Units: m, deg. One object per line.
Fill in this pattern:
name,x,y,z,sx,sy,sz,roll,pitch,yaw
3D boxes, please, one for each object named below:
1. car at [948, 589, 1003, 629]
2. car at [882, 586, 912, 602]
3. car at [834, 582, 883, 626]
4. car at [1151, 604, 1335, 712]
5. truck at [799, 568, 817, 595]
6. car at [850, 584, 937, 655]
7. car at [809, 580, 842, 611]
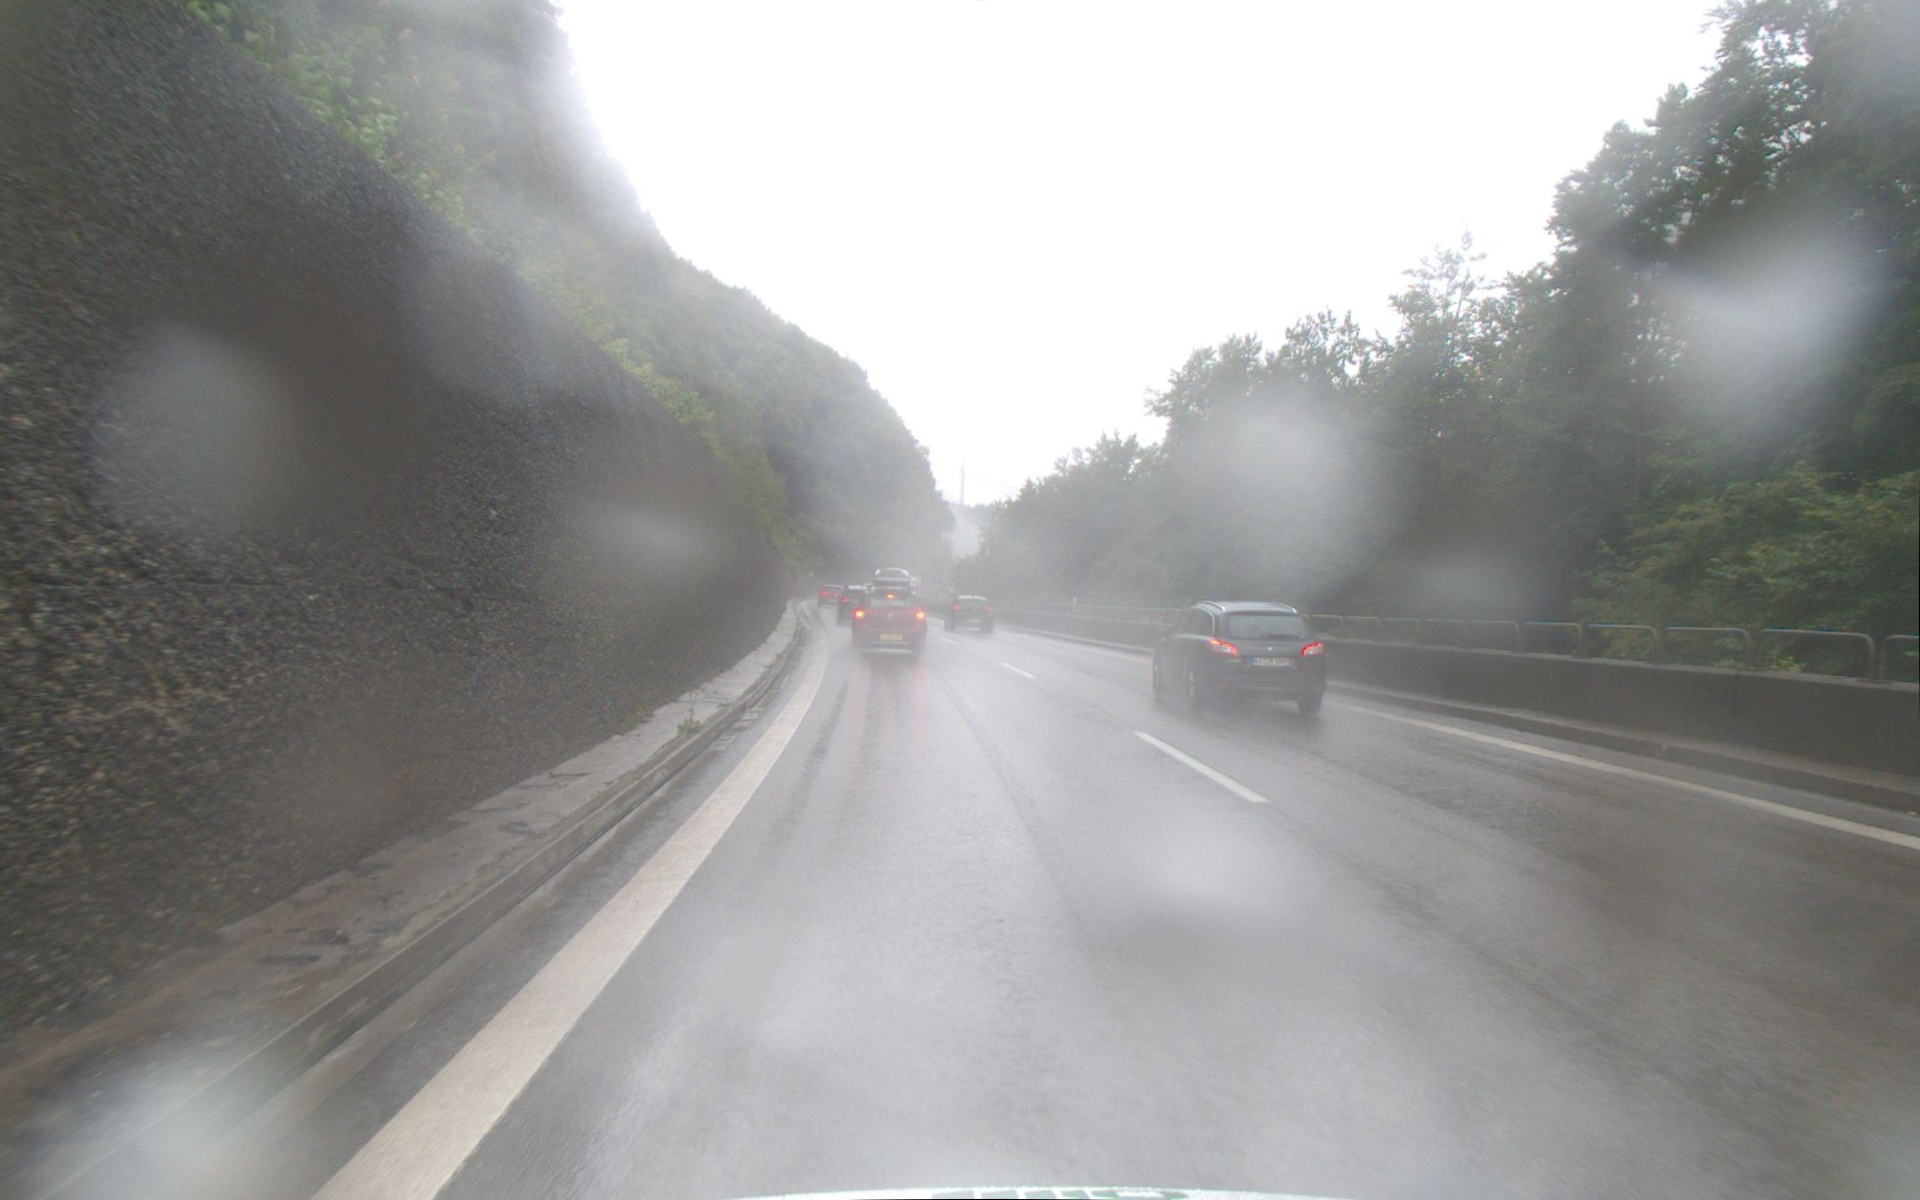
car,0.603,0.356,68.301,1.954,1.579,3.997,1,0,-4
car,-8.495,-0.837,221.205,2.417,2.049,4.700,1,0,-24
car,-4.235,0.199,69.152,1.954,1.713,3.997,1,-1,-4
car,3.816,0.742,22.951,1.764,1.330,3.999,1,0,-2
truck,-16.634,-1.993,180.838,1.955,2.799,5.579,1,0,-6
car,-1.620,0.456,39.411,1.954,1.579,3.997,1,-1,-4
car,-9.306,-0.286,114.376,1.957,2.049,3.991,1,-1,-9
